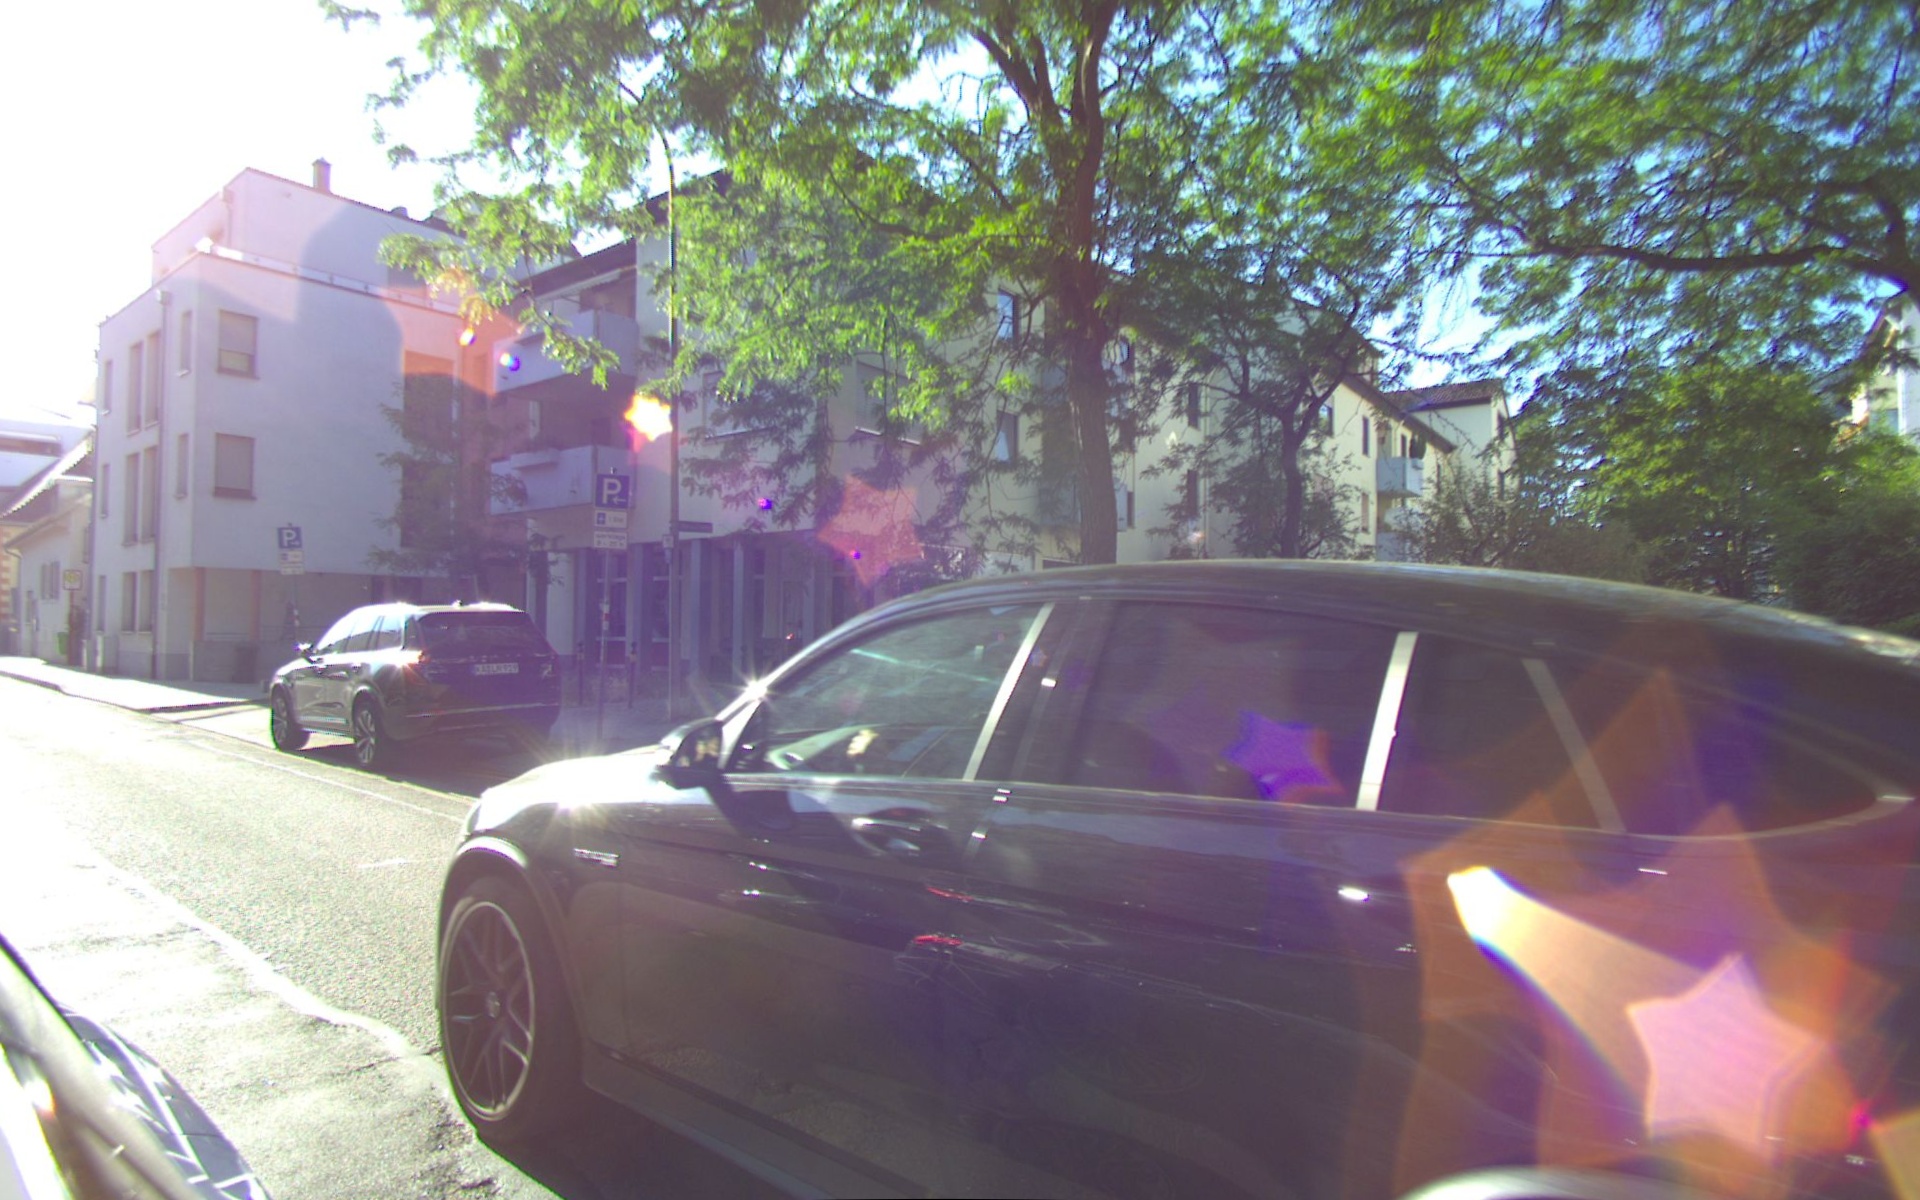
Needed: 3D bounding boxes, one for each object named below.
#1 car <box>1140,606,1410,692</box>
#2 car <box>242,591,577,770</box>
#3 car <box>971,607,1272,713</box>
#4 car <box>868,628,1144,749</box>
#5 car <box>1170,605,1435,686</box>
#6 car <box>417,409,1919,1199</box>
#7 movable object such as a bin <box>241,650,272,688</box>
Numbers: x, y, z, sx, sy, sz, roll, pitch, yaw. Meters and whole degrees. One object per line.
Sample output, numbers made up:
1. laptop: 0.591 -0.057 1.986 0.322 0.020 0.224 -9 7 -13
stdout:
1. car: 6.254 0.931 20.413 4.826 1.486 1.974 -1 0 39
2. car: -6.880 0.833 12.358 5.098 1.718 1.912 -1 0 41
3. car: 2.421 0.876 15.769 4.422 1.452 1.562 -1 -2 35
4. car: 0.531 1.089 13.688 3.639 1.419 1.504 -2 -2 43
5. car: 7.398 0.970 22.223 5.184 1.572 1.918 -2 -3 41
6. car: 0.674 0.667 2.292 4.316 1.588 1.919 -1 -2 41
7. movable object such as a bin: -16.842 1.642 24.215 0.433 0.882 0.485 -1 -2 38
